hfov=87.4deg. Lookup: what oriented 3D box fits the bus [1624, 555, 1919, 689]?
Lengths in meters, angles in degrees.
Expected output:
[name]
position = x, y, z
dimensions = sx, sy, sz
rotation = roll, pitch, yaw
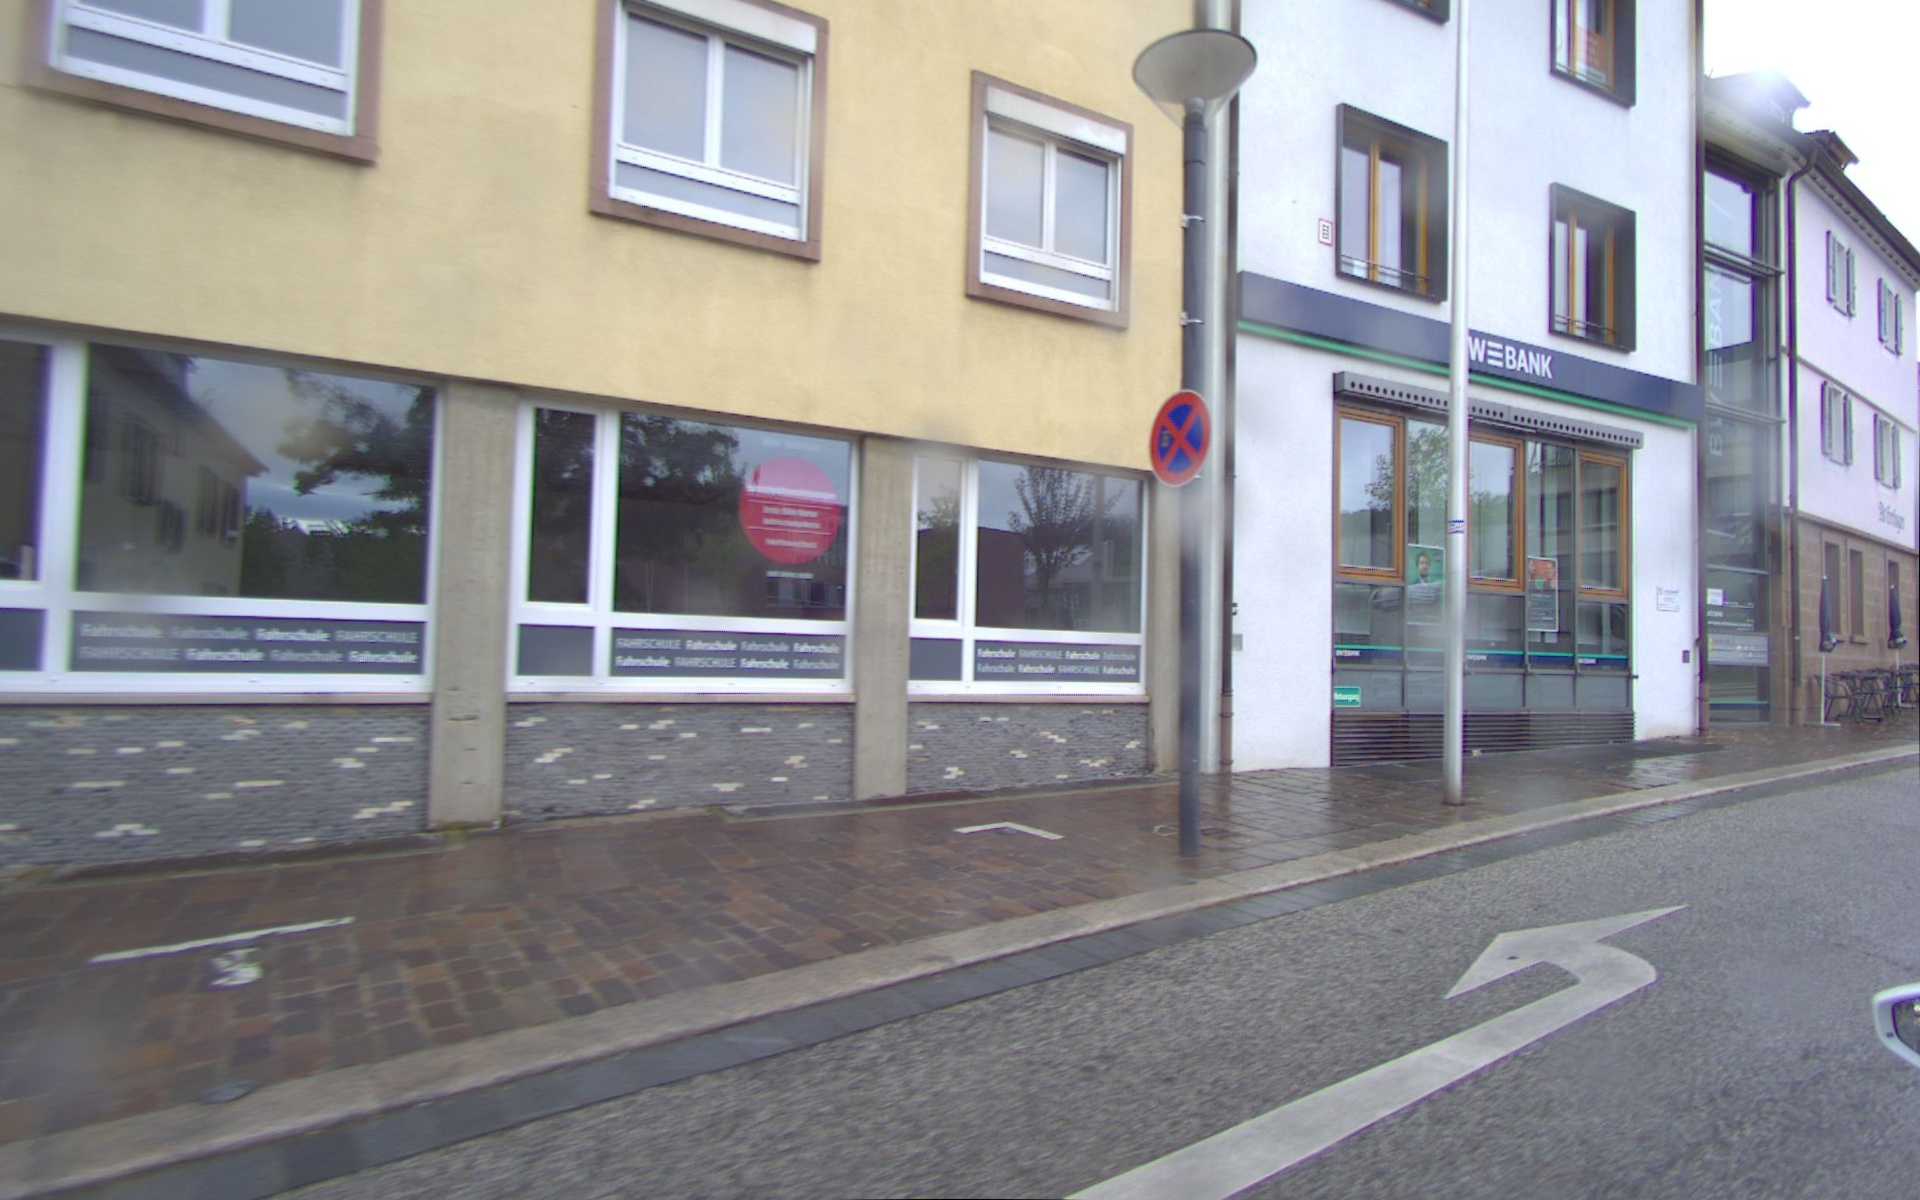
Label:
[bus]
position = 23.355, 0.637, 25.847
dimensions = 3.003, 3.187, 10.054
rotation = 2, -4, -34
